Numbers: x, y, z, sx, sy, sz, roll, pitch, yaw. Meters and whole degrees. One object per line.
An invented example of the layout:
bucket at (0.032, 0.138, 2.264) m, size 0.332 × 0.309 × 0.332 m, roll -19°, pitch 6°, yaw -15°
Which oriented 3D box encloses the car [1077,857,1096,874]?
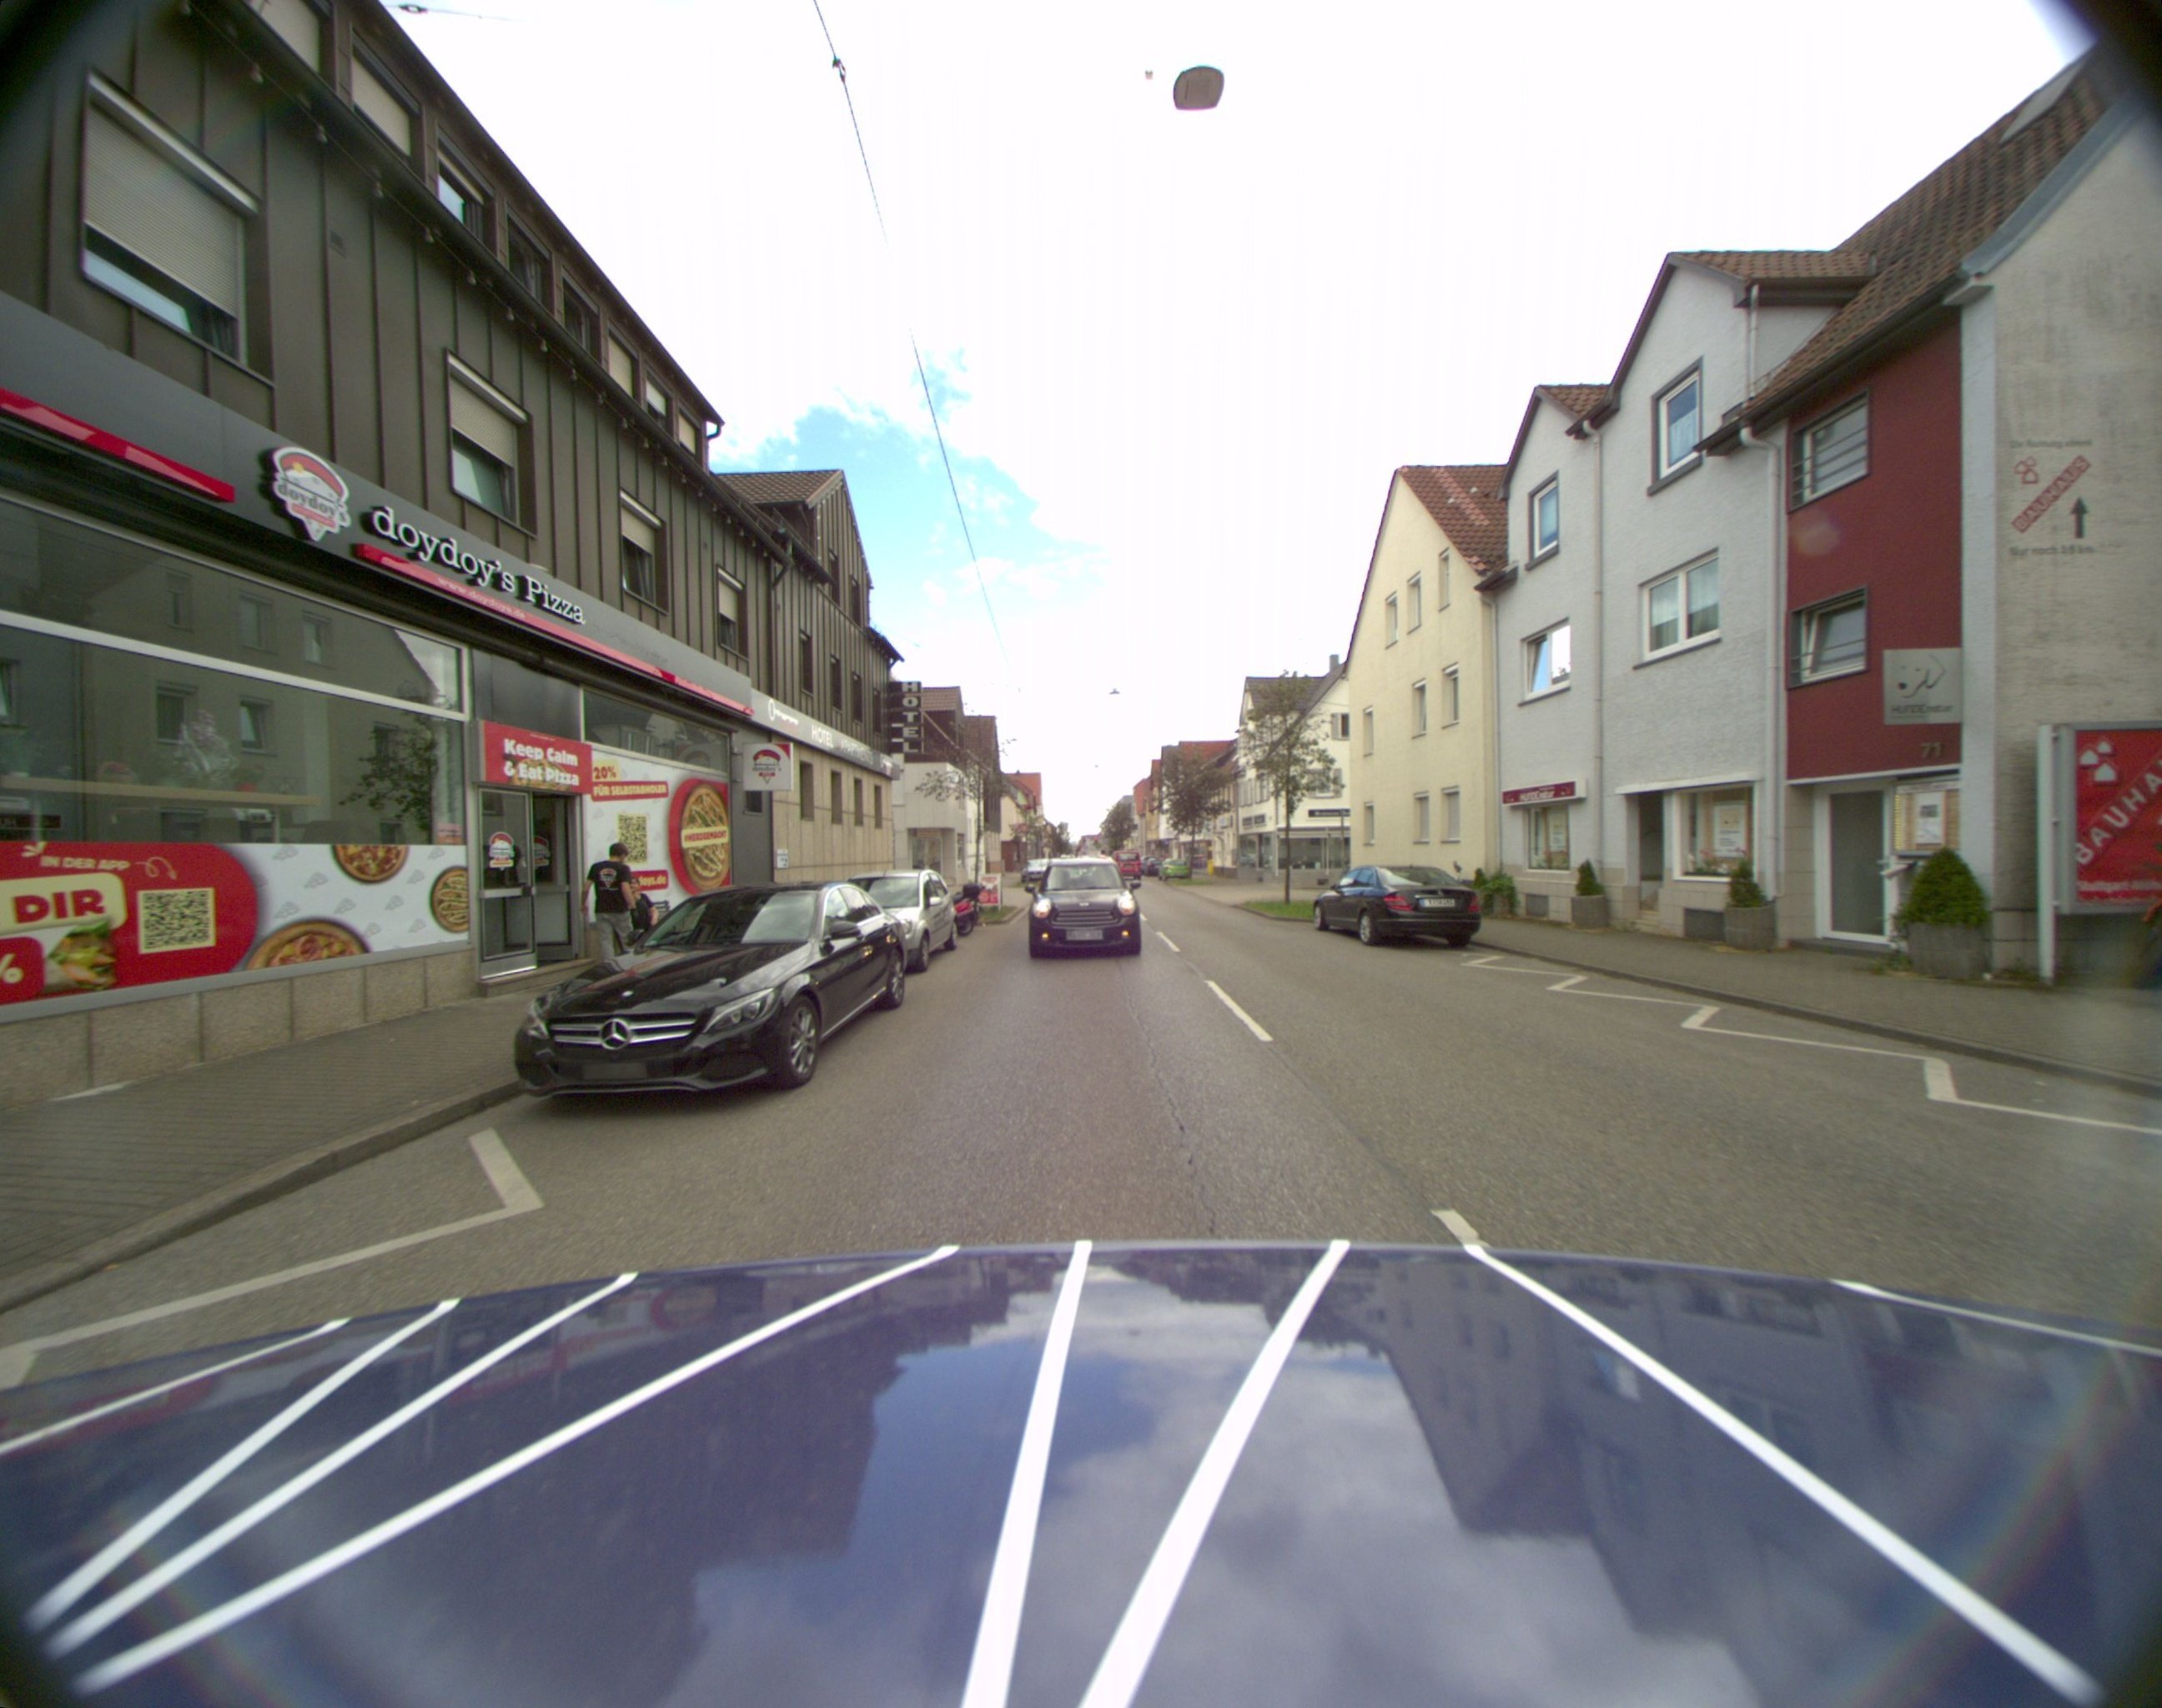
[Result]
car at (0.629, 1.223, 80.249) m, size 1.855 × 1.615 × 4.736 m, roll -2°, pitch 0°, yaw 2°

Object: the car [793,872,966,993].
car at (-2.948, 1.081, 11.951) m, size 1.645 × 1.433 × 3.902 m, roll -2°, pitch 0°, yaw 0°

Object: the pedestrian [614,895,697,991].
pedestrian at (-5.685, 1.173, 10.192) m, size 0.742 × 1.204 × 0.644 m, roll 0°, pitch 1°, yaw 0°

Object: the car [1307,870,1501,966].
car at (5.791, 1.062, 14.262) m, size 1.792 × 1.409 × 4.341 m, roll 0°, pitch 0°, yaw 0°

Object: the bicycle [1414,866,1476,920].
bicycle at (8.853, 0.916, 18.544) m, size 0.515 × 1.189 × 2.023 m, roll -2°, pitch 0°, yaw 0°

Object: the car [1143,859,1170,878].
car at (5.933, 1.111, 60.150) m, size 1.715 × 1.389 × 3.900 m, roll -2°, pitch 0°, yaw -1°

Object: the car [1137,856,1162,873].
car at (5.875, 0.893, 65.295) m, size 1.715 × 1.389 × 3.900 m, roll -2°, pitch 0°, yaw -1°

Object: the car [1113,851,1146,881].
car at (3.245, 0.762, 51.943) m, size 1.855 × 1.932 × 4.490 m, roll 1°, pitch 0°, yaw -1°

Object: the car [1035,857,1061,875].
car at (-2.633, 0.939, 61.582) m, size 1.794 × 1.397 × 3.949 m, roll 1°, pitch 0°, yaw 1°

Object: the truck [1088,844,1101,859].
truck at (2.957, -0.575, 169.667) m, size 2.799 × 3.020 × 8.251 m, roll -2°, pitch 0°, yaw 1°

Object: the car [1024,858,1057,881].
car at (-2.539, 0.965, 48.585) m, size 1.794 × 1.356 × 3.949 m, roll 1°, pitch 0°, yaw 1°

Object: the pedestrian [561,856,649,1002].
pedestrian at (-5.852, 0.889, 9.386) m, size 0.643 × 1.730 × 0.742 m, roll 0°, pitch 1°, yaw -5°

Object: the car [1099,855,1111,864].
car at (3.707, 0.852, 119.137) m, size 1.779 × 1.446 × 4.000 m, roll -2°, pitch 0°, yaw 1°

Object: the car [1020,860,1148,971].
car at (0.006, 0.922, 13.573) m, size 1.855 × 1.527 × 4.735 m, roll -2°, pitch 0°, yaw -1°

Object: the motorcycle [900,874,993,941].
motorcycle at (-2.862, 1.108, 16.279) m, size 1.874 × 1.284 × 0.531 m, roll -2°, pitch 1°, yaw -37°

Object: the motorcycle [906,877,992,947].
motorcycle at (-2.645, 1.138, 15.273) m, size 1.588 × 1.284 × 0.500 m, roll -2°, pitch 1°, yaw -29°

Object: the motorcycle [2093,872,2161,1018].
motorcycle at (10.765, 0.773, 6.925) m, size 2.231 × 1.258 × 0.613 m, roll -3°, pitch 1°, yaw 0°

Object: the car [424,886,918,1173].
car at (-2.850, 1.110, 6.670) m, size 1.829 × 1.400 × 4.565 m, roll -2°, pitch 0°, yaw 0°

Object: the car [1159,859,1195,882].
car at (6.198, 1.042, 49.479) m, size 1.715 × 1.389 × 3.900 m, roll -2°, pitch 0°, yaw -1°

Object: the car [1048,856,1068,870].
car at (-2.351, 0.925, 78.133) m, size 1.794 × 1.397 × 3.949 m, roll 1°, pitch 0°, yaw 1°

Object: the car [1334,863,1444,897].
car at (11.642, 0.981, 28.841) m, size 3.490 × 1.182 × 1.612 m, roll -2°, pitch -1°, yaw 0°

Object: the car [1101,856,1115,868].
car at (3.546, 1.084, 101.974) m, size 1.779 × 1.446 × 4.000 m, roll -2°, pitch 0°, yaw 1°
